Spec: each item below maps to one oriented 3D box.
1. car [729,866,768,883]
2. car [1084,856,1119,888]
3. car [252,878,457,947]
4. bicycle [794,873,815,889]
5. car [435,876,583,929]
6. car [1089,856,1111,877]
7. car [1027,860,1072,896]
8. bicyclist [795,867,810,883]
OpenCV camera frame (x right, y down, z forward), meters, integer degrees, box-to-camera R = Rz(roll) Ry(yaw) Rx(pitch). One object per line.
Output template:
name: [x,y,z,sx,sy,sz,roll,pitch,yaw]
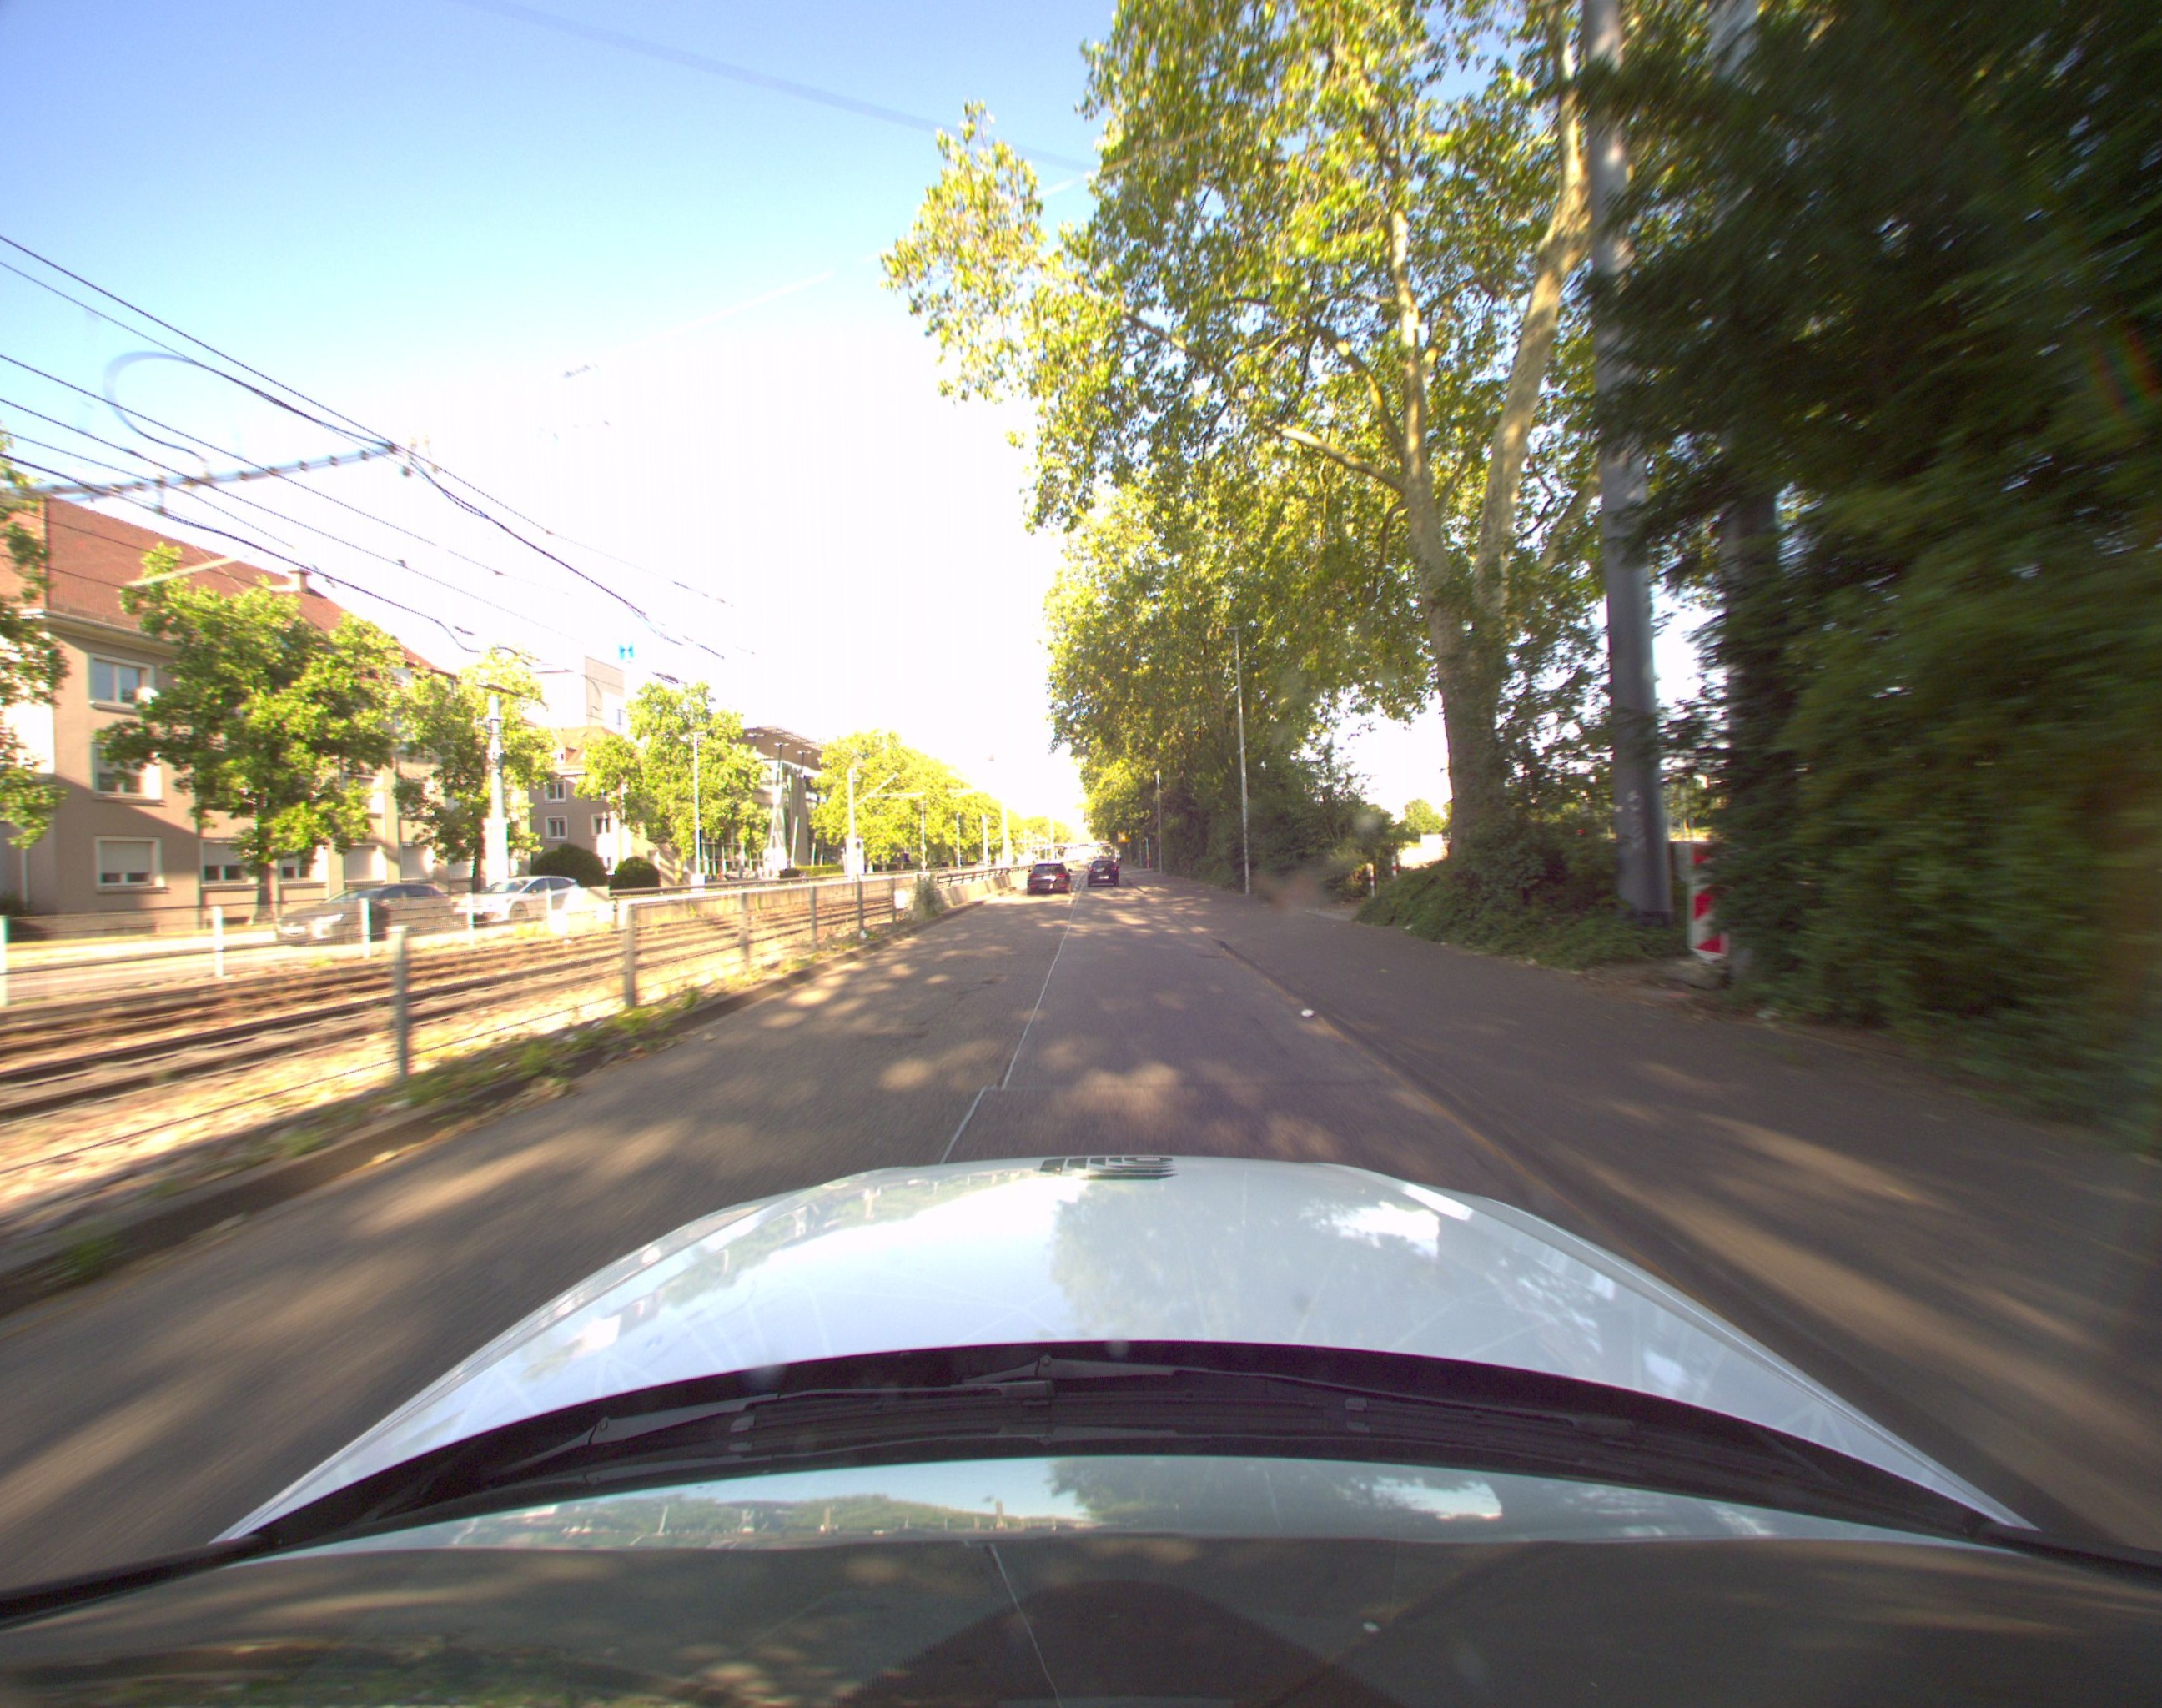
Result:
car: [-41.408,2.542,101.584,3.974,2.013,2.000,-2,0,0]
car: [1.085,0.946,44.766,1.757,1.619,3.998,-2,0,-1]
car: [-18.846,1.461,21.409,1.733,1.547,4.001,-1,-1,1]
bicycle: [-27.520,2.674,81.152,0.927,1.486,3.176,-2,0,0]
car: [-18.734,1.528,26.944,1.986,1.530,4.001,-1,-1,2]
car: [1.891,1.207,80.713,1.986,2.013,4.001,-2,0,2]
car: [-1.337,1.016,35.800,1.872,1.457,3.355,-2,0,-1]
bicyclist: [-27.602,2.105,80.724,0.927,1.486,1.272,-2,-1,-1]
